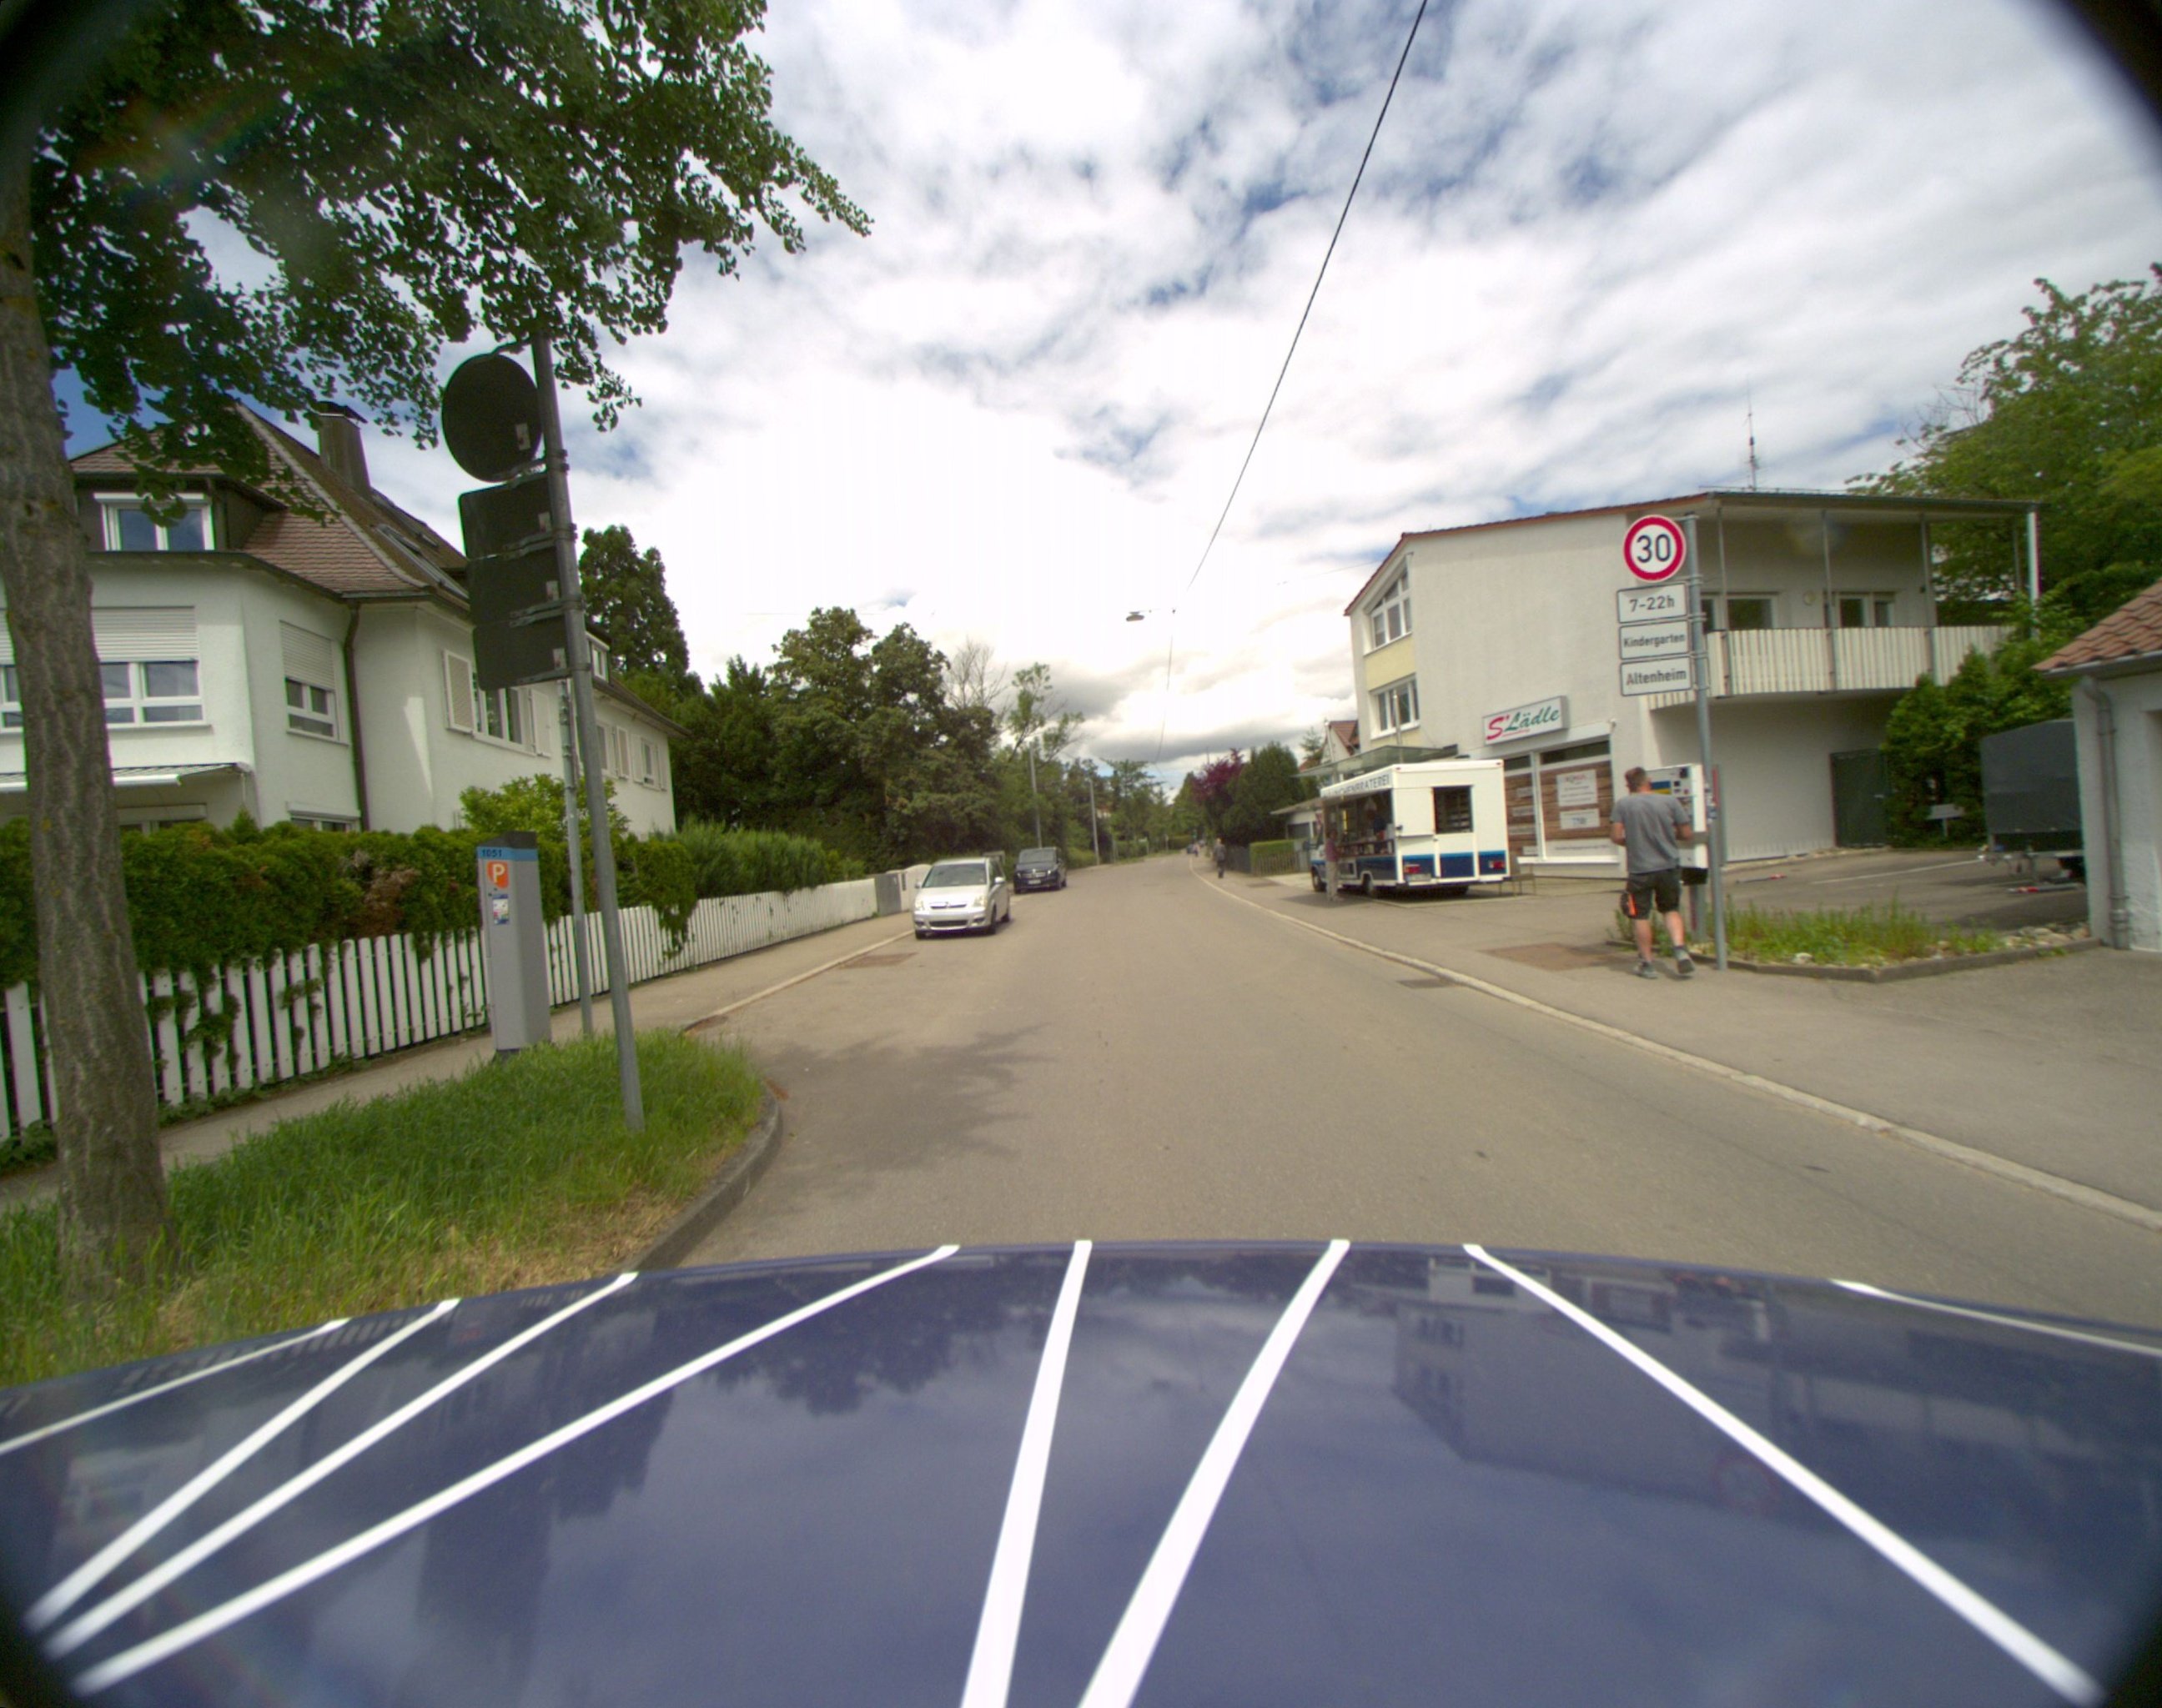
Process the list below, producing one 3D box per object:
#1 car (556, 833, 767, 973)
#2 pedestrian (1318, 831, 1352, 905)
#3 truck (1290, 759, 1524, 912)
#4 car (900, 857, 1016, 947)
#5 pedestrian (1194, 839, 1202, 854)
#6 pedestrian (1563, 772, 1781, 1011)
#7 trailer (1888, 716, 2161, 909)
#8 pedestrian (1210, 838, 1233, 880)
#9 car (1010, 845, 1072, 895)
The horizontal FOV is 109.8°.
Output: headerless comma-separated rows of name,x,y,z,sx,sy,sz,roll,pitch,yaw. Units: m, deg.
car,-9.862,1.023,18.568,2.505,2.666,5.183,-6,1,-7
pedestrian,5.966,0.329,17.865,0.402,1.685,0.597,-6,1,-1
truck,7.308,-0.395,18.231,2.479,2.824,6.706,-5,1,-1
car,-2.539,0.934,16.650,1.763,1.573,4.018,-3,1,1
pedestrian,13.928,-0.889,90.348,0.821,1.734,0.604,-6,1,10
pedestrian,5.292,0.327,6.873,1.216,1.935,0.735,-6,1,4
trailer,13.531,-0.656,9.562,4.875,2.067,1.704,-6,-1,-2
pedestrian,6.144,0.205,33.318,0.724,1.678,1.109,-6,3,4
car,-1.623,0.601,33.079,1.913,1.838,5.158,-5,1,4
